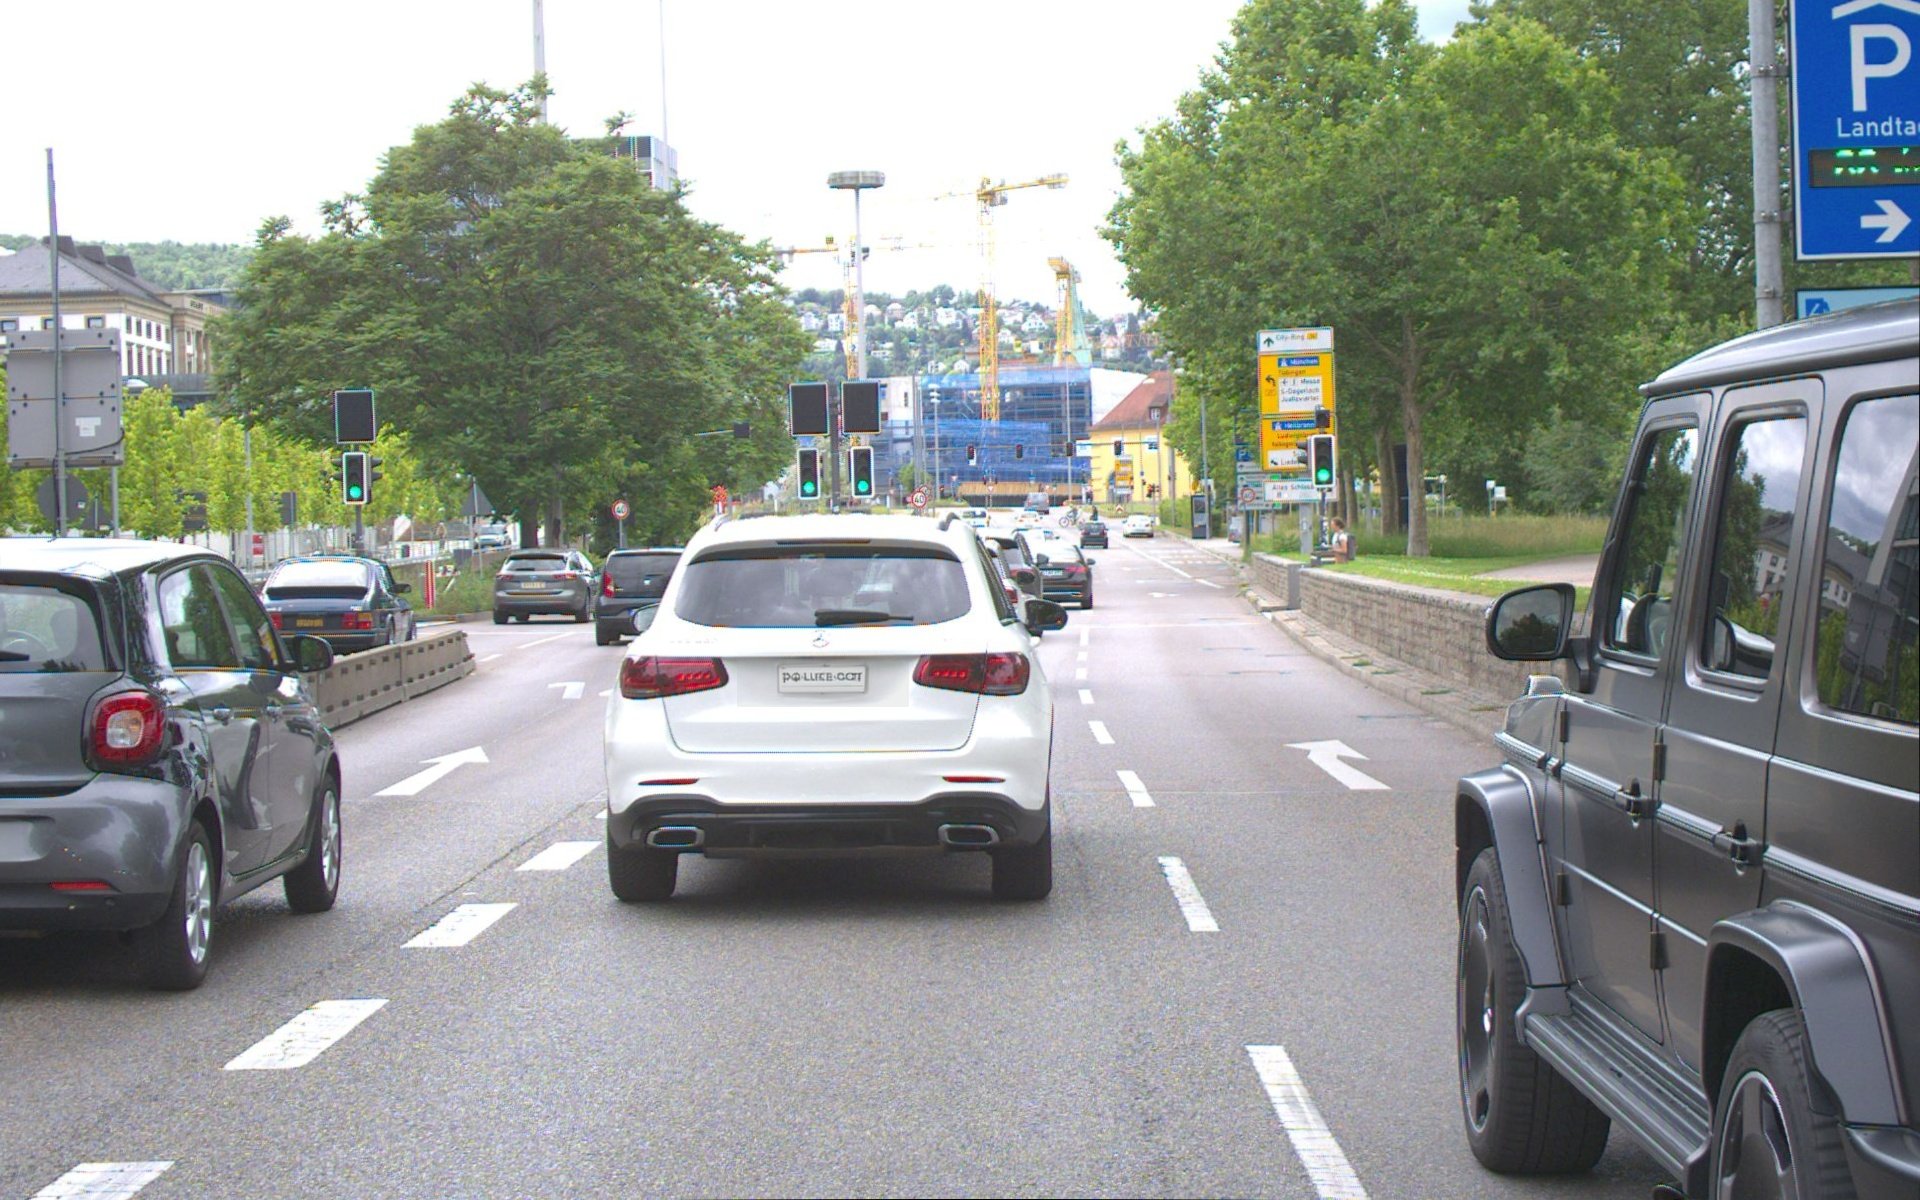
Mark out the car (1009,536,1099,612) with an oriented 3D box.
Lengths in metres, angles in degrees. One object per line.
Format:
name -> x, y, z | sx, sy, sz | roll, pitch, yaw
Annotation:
car -> 2.014, -0.592, 74.528 | 1.719, 1.579, 4.000 | 1, 1, -1

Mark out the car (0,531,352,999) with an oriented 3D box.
car -> -3.400, 0.521, 12.830 | 1.627, 1.504, 3.540 | 0, 0, 0

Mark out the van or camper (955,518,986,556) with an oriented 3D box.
van or camper -> 0.644, -3.972, 218.354 | 1.922, 2.312, 4.000 | 0, -1, 0

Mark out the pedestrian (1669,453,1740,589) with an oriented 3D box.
pedestrian -> 11.200, -1.183, 51.752 | 0.856, 2.007, 0.815 | 1, -1, -1

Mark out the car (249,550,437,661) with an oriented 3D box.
car -> -7.707, 0.039, 43.219 | 1.719, 1.288, 4.000 | 1, 1, -1

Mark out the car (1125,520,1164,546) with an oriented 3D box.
car -> 11.992, -4.354, 223.369 | 1.993, 1.612, 4.001 | 1, 0, -4

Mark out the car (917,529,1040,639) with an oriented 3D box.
car -> 0.247, -0.263, 52.236 | 1.719, 1.579, 4.000 | 1, 1, -1

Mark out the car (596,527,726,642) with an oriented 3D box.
car -> -4.532, -0.263, 52.580 | 1.719, 1.673, 4.000 | 1, 1, -1

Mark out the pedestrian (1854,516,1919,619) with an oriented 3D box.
pedestrian -> 13.923, -0.483, 51.675 | 0.786, 1.521, 0.683 | 1, 0, 1

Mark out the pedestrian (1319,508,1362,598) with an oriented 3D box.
pedestrian -> 7.094, -0.876, 64.067 | 0.697, 1.650, 0.684 | 1, 0, 0

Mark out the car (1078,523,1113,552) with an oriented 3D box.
car -> 7.703, -3.552, 195.510 | 1.719, 1.579, 4.000 | 1, 1, -1

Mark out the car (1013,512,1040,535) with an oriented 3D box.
car -> 4.586, -5.285, 237.241 | 1.719, 1.579, 4.000 | 1, 1, -1

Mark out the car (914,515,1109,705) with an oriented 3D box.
car -> 0.478, 0.087, 31.873 | 1.672, 1.622, 4.000 | 1, 0, 1

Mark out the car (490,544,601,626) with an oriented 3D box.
car -> -8.199, -0.318, 68.310 | 1.753, 1.548, 4.000 | 1, 1, -1

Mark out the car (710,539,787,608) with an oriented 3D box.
car -> -5.043, -0.662, 82.303 | 1.719, 1.579, 4.001 | 1, 1, -2

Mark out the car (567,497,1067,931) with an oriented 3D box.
car -> -0.579, 0.438, 15.540 | 1.940, 1.678, 4.000 | 1, 0, 0

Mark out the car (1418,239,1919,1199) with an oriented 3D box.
car -> 2.254, 0.450, 6.606 | 1.977, 1.887, 4.707 | 1, 0, -1
